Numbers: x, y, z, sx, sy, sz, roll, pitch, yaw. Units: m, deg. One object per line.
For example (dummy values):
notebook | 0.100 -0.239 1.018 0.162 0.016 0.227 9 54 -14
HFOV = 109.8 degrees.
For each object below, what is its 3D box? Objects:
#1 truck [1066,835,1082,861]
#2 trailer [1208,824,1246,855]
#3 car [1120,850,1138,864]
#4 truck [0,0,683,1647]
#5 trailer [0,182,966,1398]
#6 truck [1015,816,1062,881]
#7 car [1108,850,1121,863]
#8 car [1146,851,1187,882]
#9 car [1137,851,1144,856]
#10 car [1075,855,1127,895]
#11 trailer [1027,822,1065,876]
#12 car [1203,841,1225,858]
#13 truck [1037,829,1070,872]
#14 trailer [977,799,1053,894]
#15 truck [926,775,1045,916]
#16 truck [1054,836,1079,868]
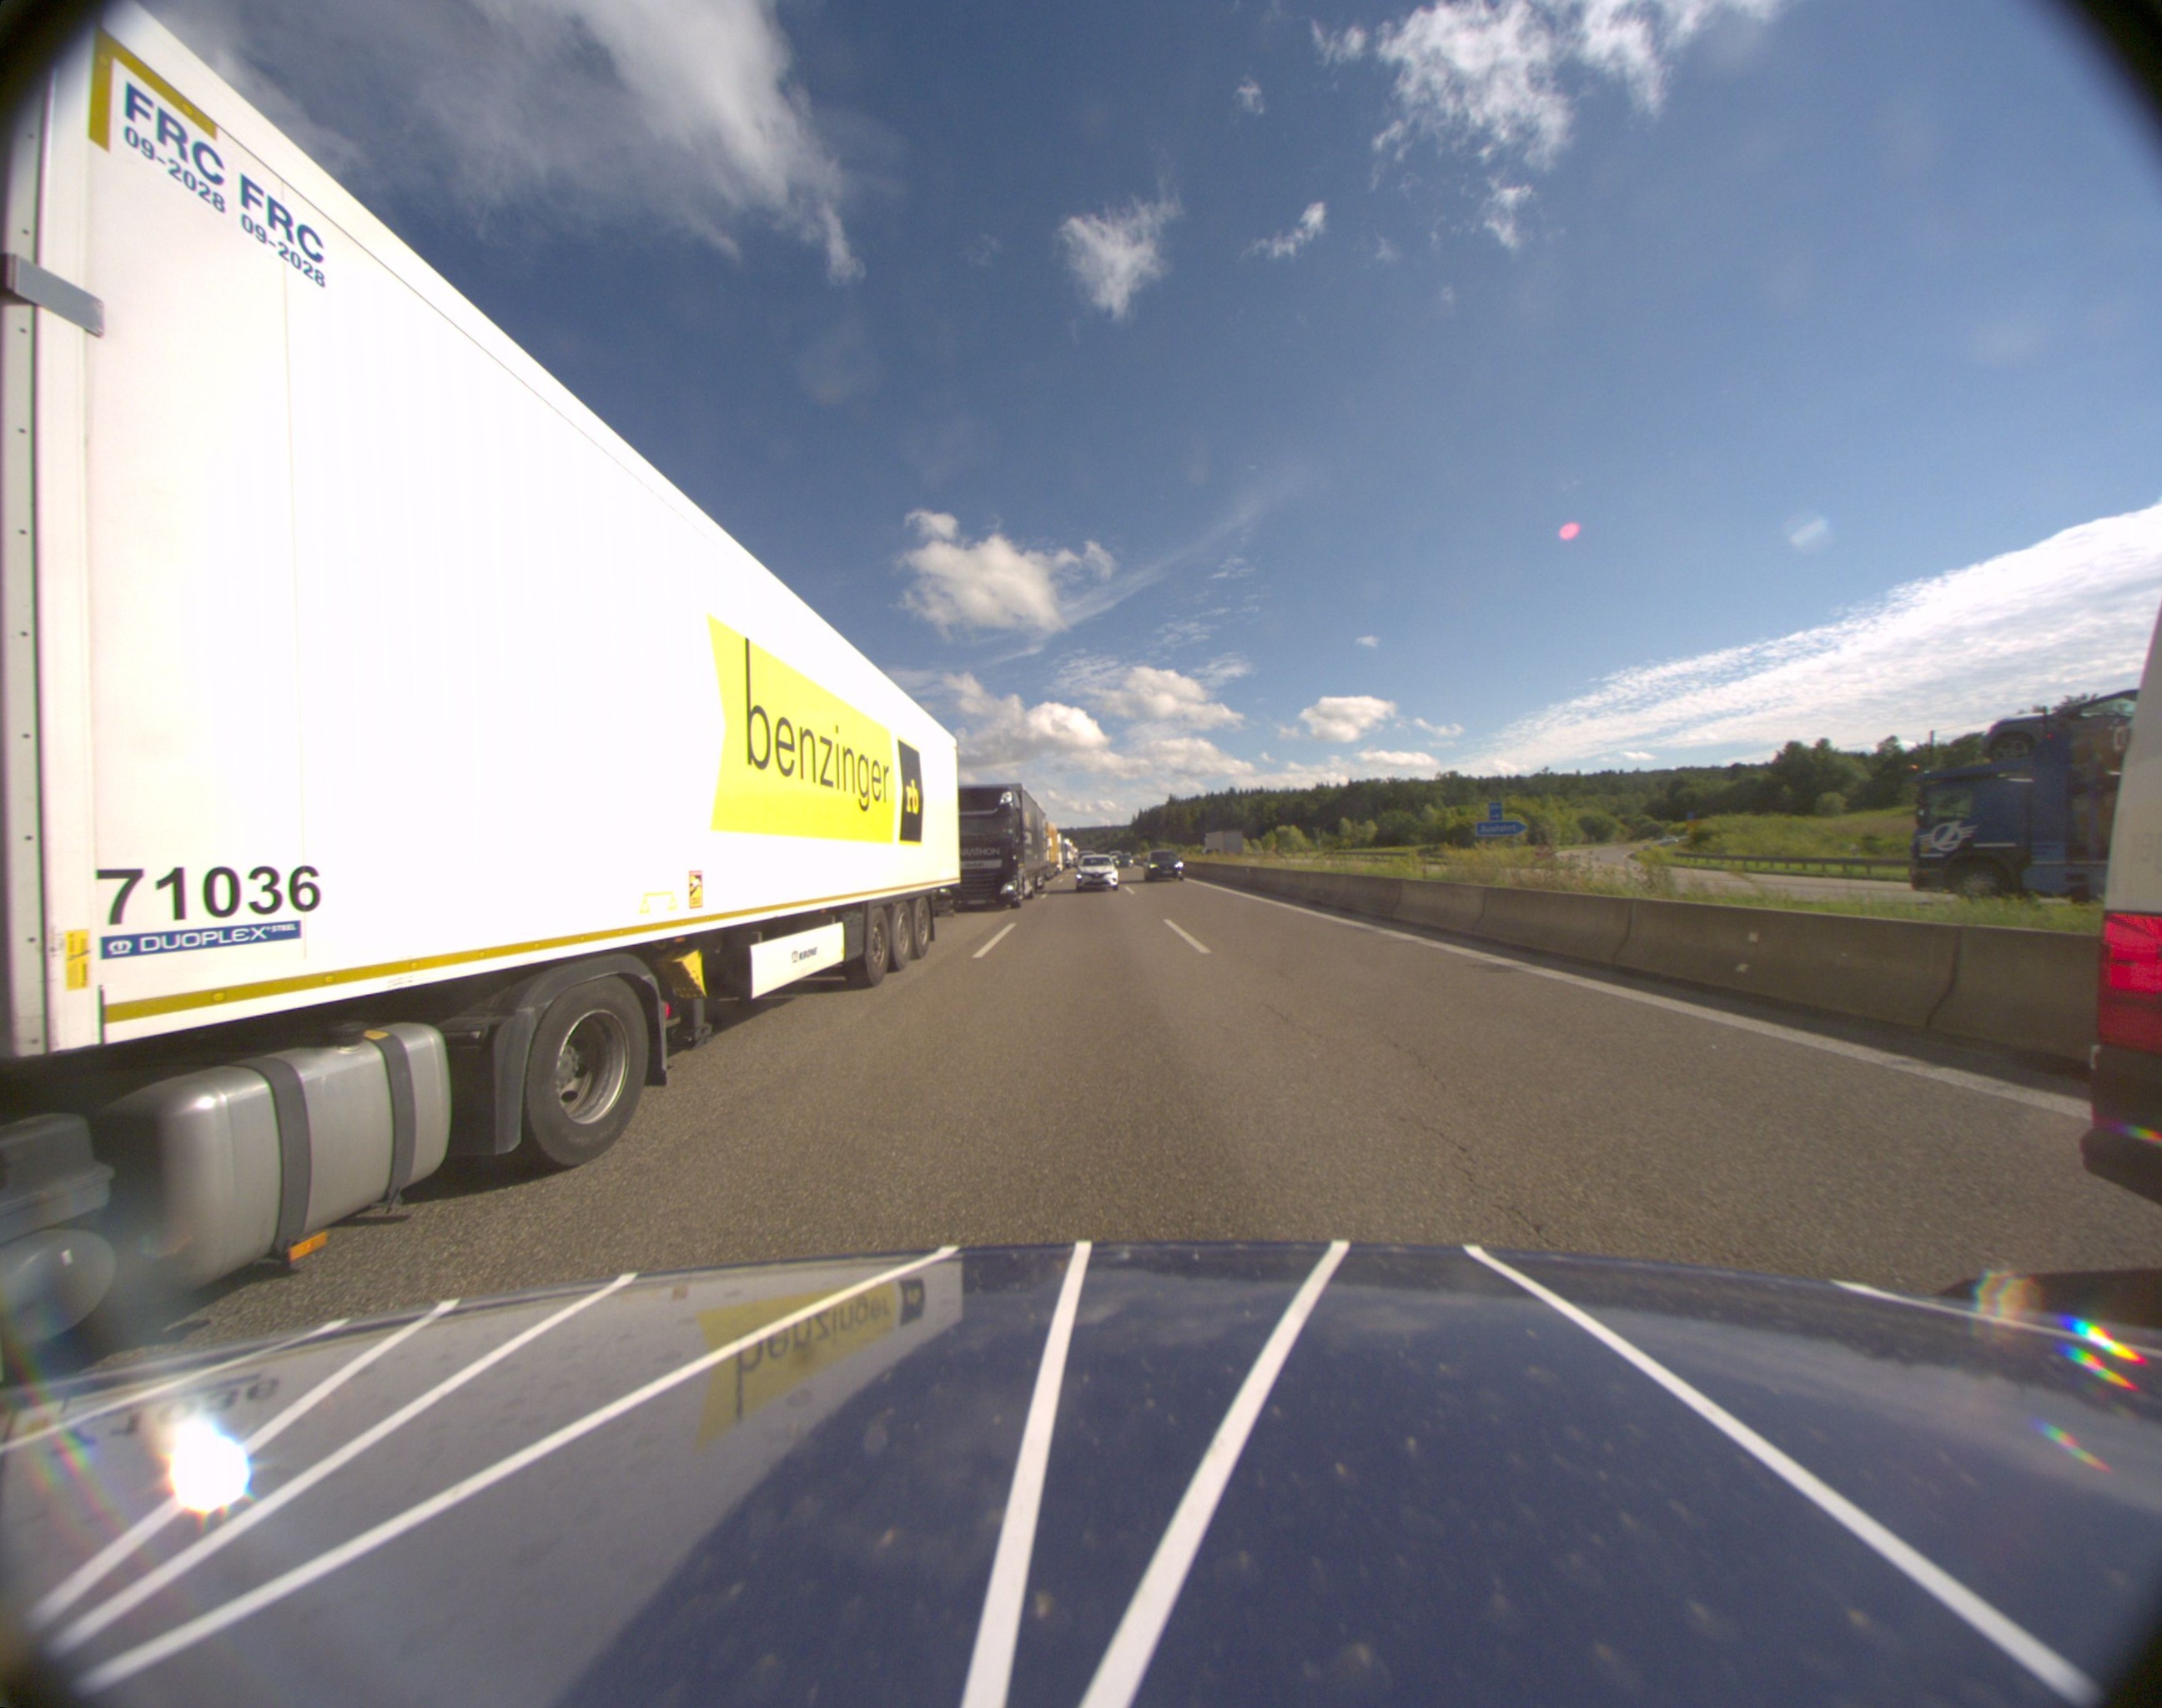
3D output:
truck | -1.138 -0.895 125.380 2.371 3.996 6.106 -4 -1 0
trailer | 20.328 -2.020 106.534 2.839 3.969 13.548 -2 1 1
car | 5.119 0.321 82.017 1.779 1.451 4.158 -1 1 1
truck | -3.916 -0.113 1.635 2.809 3.916 5.825 -3 1 0
trailer | -3.882 -0.198 9.013 2.799 3.916 13.068 -3 1 0
truck | -2.919 -0.374 54.905 2.418 4.045 9.664 -5 0 1
car | 4.850 0.361 110.119 1.779 1.923 4.214 -1 0 1
car | 4.533 0.647 40.806 1.779 1.533 4.158 -1 1 1
car | 18.630 -0.222 237.521 1.923 1.468 4.933 -5 0 0
car | 0.914 0.860 33.142 2.026 1.511 5.299 -2 0 2
trailer | -2.847 -0.385 64.312 2.418 4.045 8.926 -5 0 1
car | 16.279 -0.530 93.446 1.883 1.865 4.489 -4 1 1
truck | -2.807 -0.411 78.764 2.654 4.066 6.491 -4 1 2
trailer | -2.940 -0.296 36.445 2.723 3.937 8.711 -2 0 0
truck | -3.019 -0.288 27.158 2.747 4.015 10.201 -2 1 1
truck | -1.935 -0.265 101.580 2.655 3.902 6.943 -5 0 2
